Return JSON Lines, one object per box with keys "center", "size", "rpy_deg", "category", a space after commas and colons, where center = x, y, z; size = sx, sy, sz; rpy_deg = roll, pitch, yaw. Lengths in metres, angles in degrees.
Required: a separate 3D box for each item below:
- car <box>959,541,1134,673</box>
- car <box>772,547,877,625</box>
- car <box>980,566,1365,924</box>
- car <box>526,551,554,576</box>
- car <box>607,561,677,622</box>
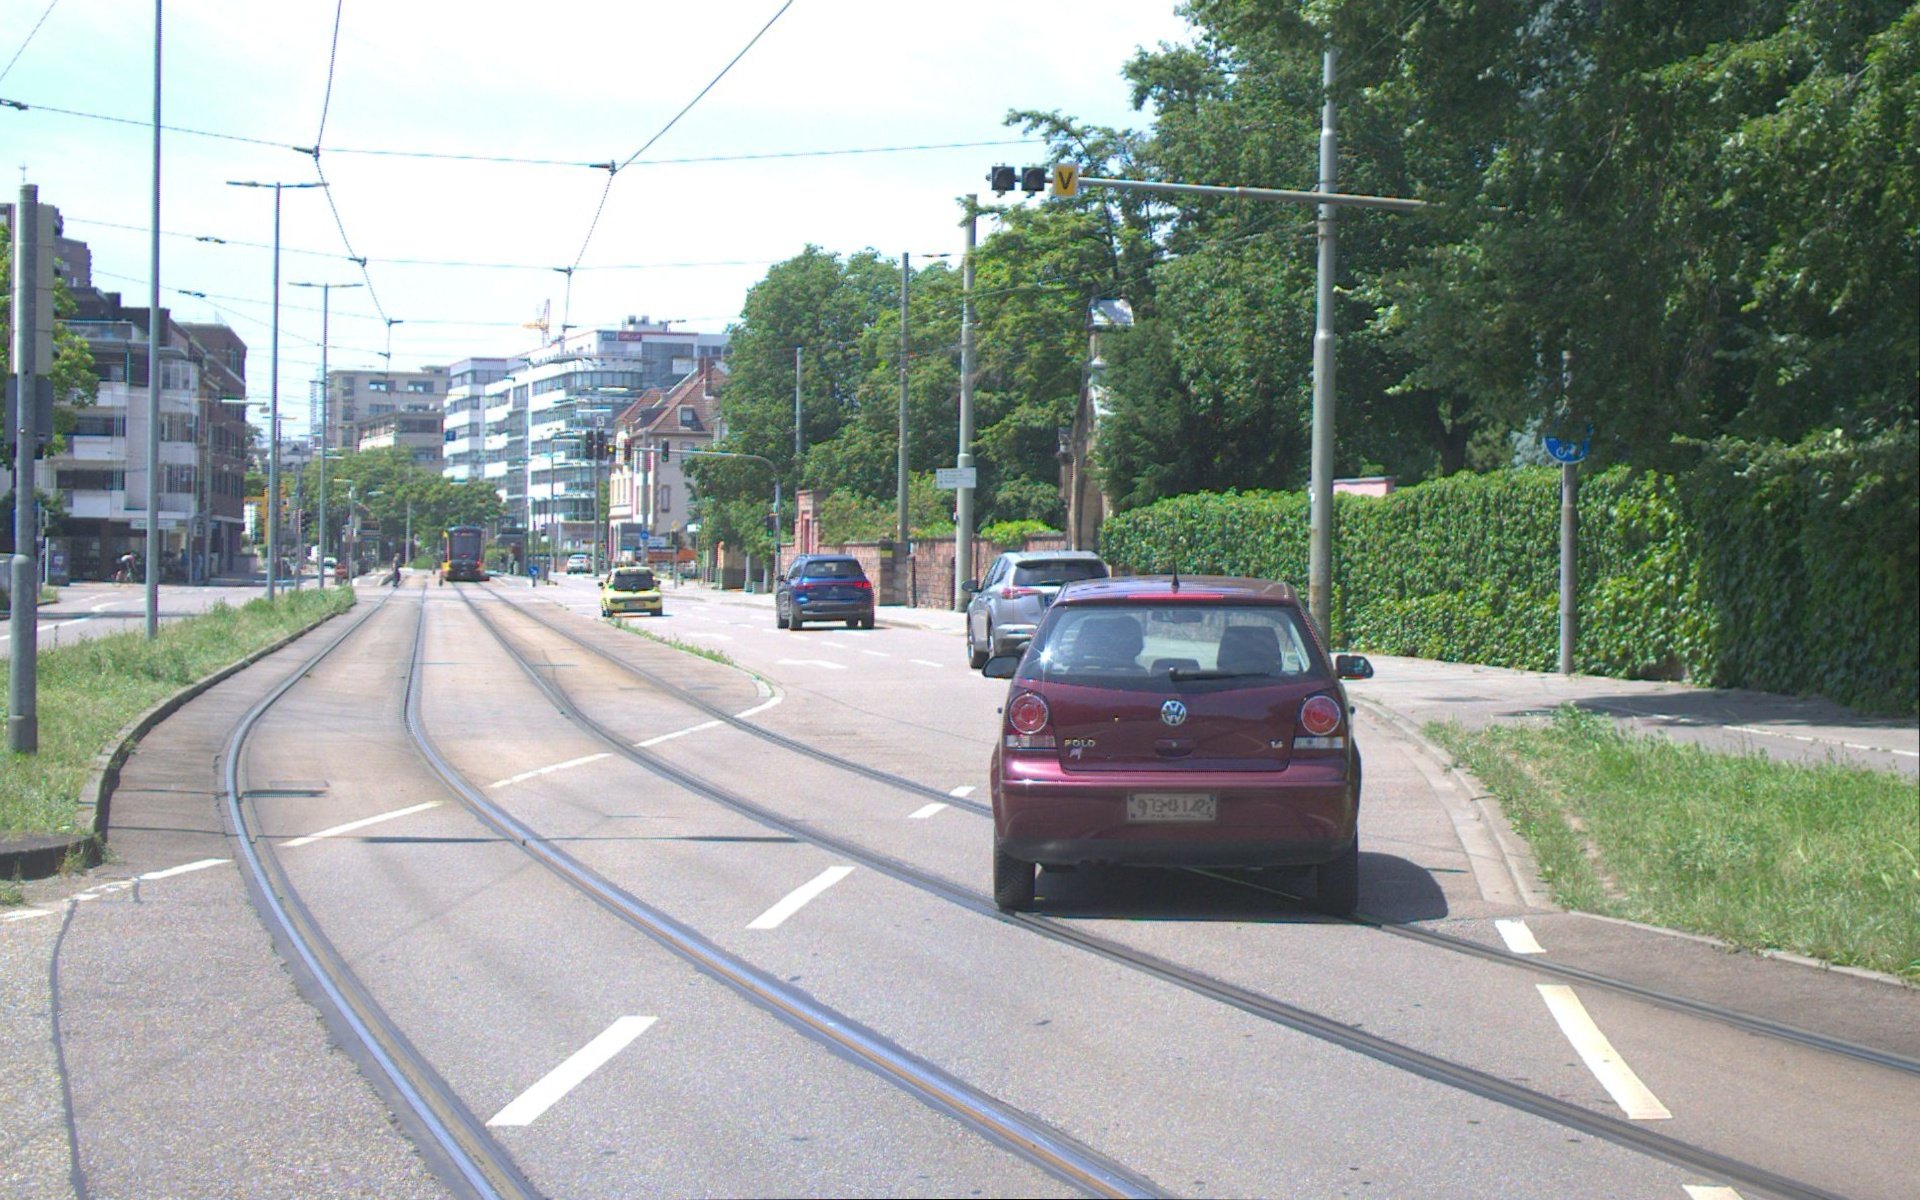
{"center": [1.136, 0.065, 47.223], "size": [1.795, 1.677, 4.001], "rpy_deg": [2, 1, -7], "category": "car"}
{"center": [-3.025, -0.324, 76.129], "size": [1.773, 1.625, 4.001], "rpy_deg": [2, 1, -10], "category": "car"}
{"center": [0.956, 0.588, 16.425], "size": [1.610, 1.493, 4.000], "rpy_deg": [0, 1, 2], "category": "car"}
{"center": [-22.166, -1.929, 181.331], "size": [1.353, 1.248, 2.973], "rpy_deg": [2, 1, -8], "category": "car"}
{"center": [-9.315, -0.268, 100.585], "size": [1.795, 1.677, 4.001], "rpy_deg": [2, 1, -8], "category": "car"}
